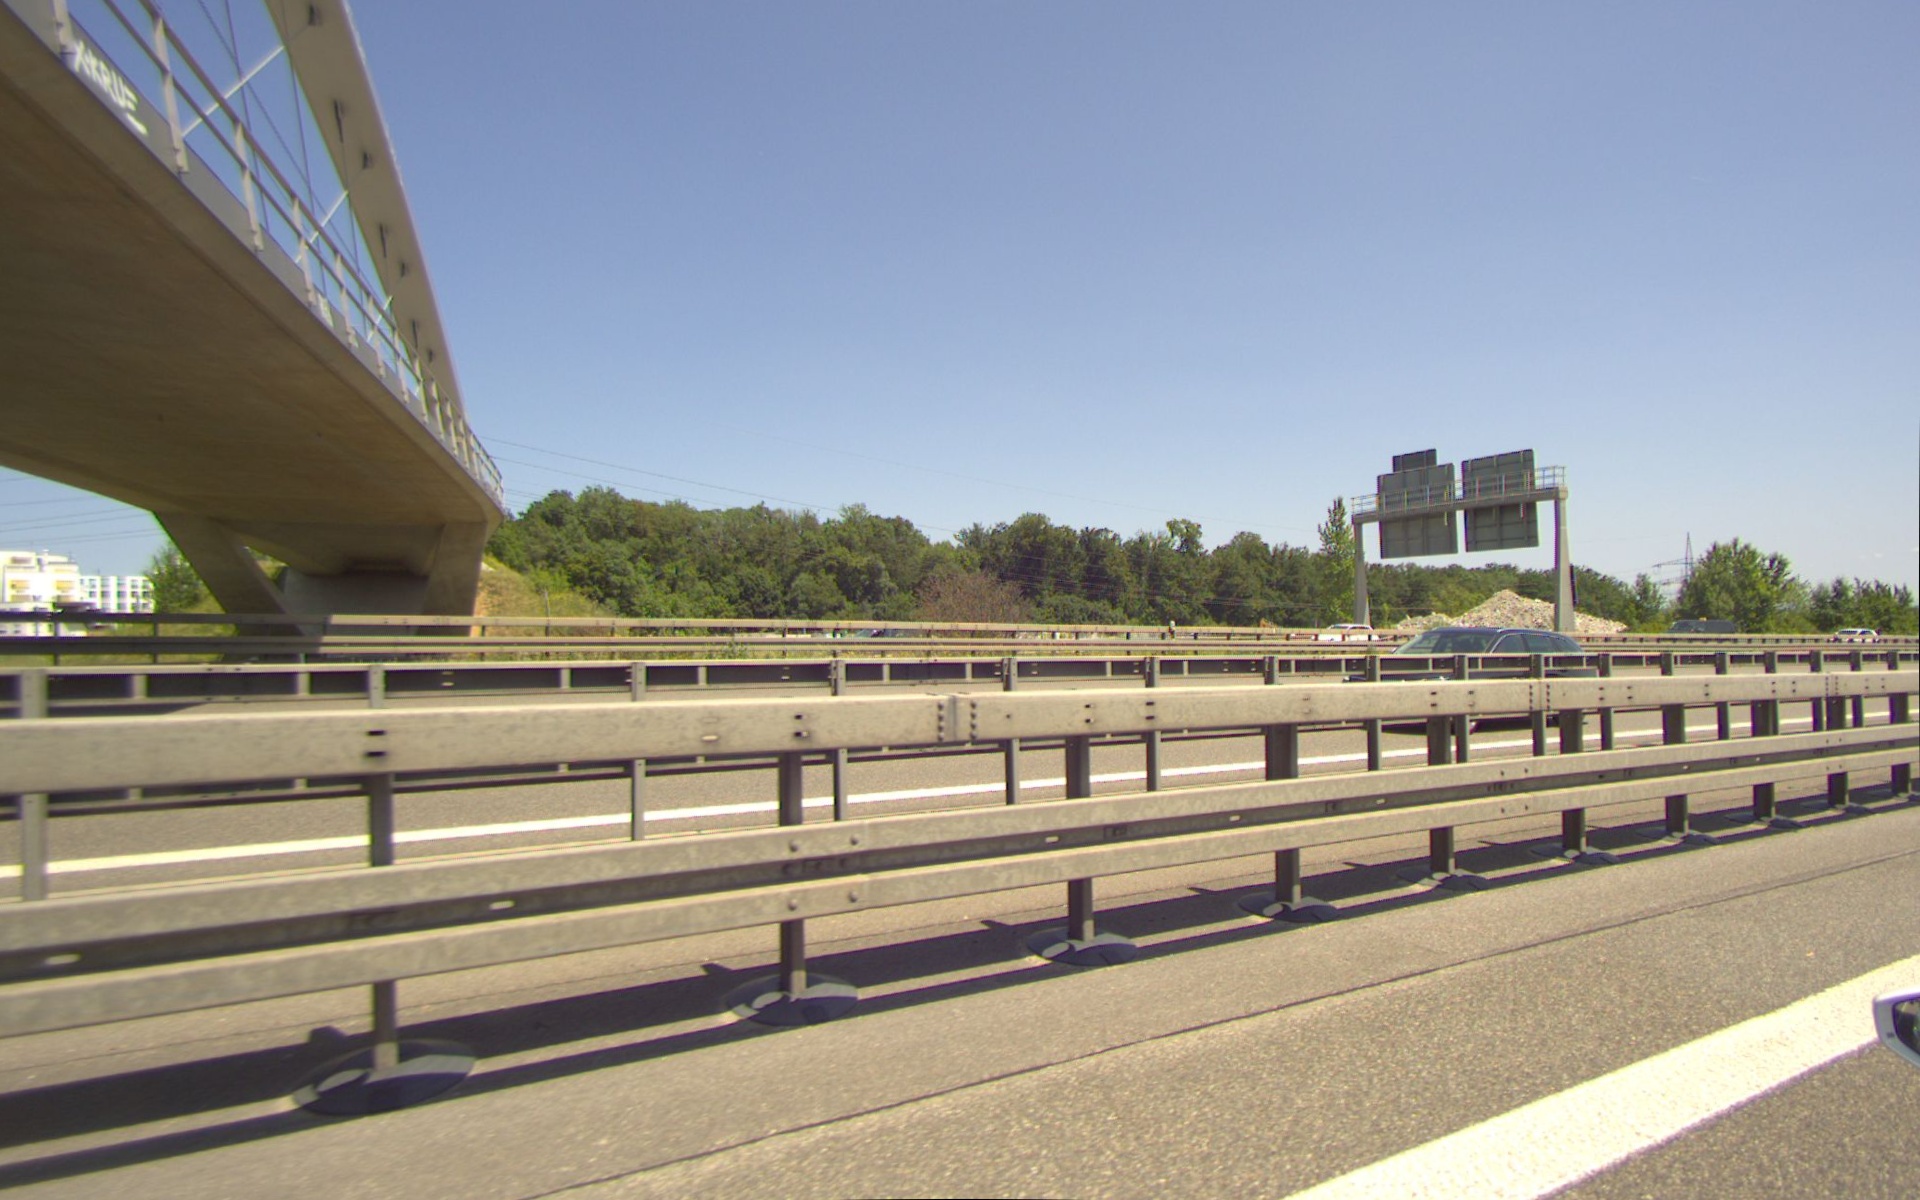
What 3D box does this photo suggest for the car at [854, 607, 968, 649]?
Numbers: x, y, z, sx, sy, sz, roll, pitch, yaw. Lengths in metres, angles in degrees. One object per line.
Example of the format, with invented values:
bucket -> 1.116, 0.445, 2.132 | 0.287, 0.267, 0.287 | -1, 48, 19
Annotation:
car -> -1.999, 1.141, 41.160 | 4.270, 1.639, 1.985 | 1, -1, -29

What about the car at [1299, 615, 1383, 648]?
car -> 19.767, 1.643, 52.063 | 3.951, 1.639, 1.985 | 1, -1, -29

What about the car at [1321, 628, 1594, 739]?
car -> 7.432, 1.167, 14.932 | 4.049, 1.430, 1.624 | 1, -1, -29
